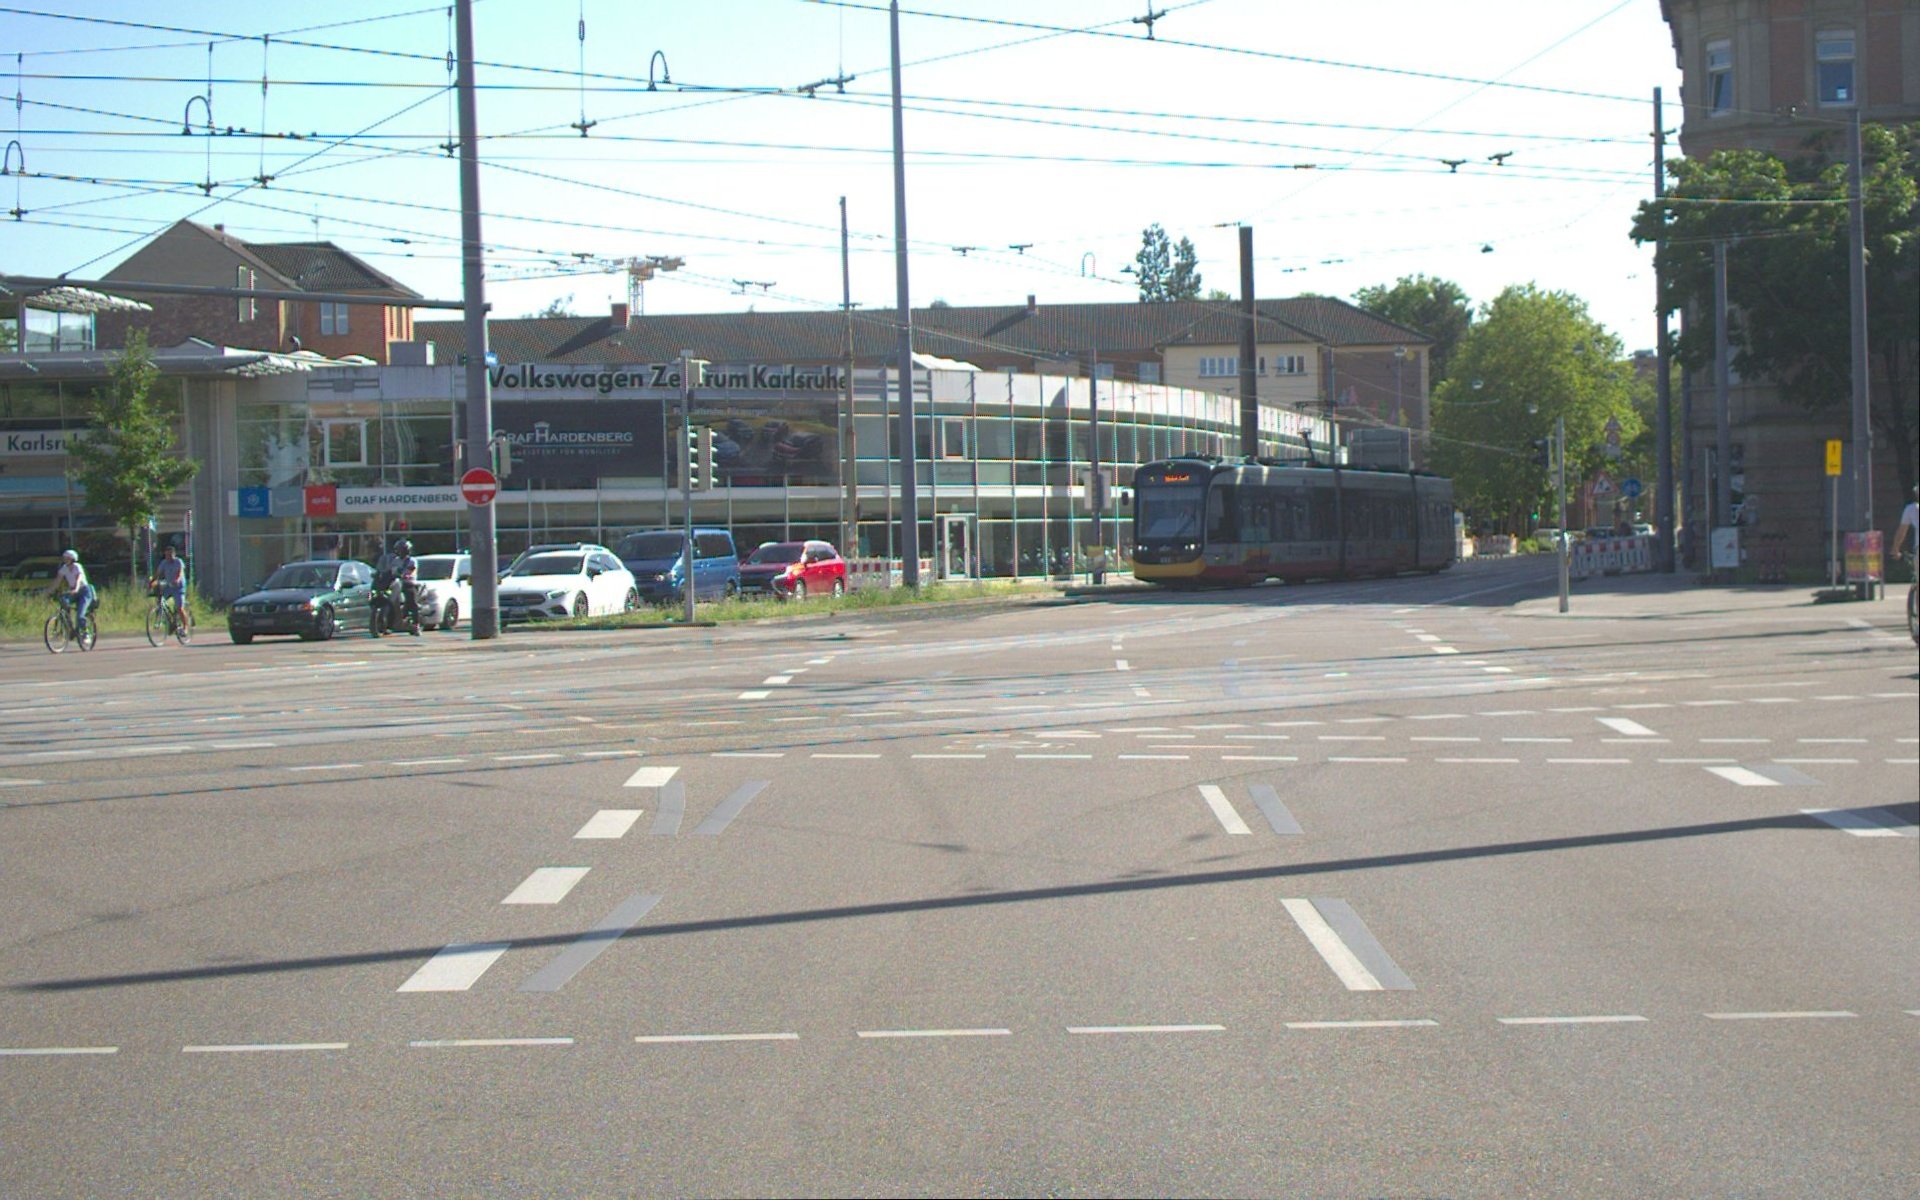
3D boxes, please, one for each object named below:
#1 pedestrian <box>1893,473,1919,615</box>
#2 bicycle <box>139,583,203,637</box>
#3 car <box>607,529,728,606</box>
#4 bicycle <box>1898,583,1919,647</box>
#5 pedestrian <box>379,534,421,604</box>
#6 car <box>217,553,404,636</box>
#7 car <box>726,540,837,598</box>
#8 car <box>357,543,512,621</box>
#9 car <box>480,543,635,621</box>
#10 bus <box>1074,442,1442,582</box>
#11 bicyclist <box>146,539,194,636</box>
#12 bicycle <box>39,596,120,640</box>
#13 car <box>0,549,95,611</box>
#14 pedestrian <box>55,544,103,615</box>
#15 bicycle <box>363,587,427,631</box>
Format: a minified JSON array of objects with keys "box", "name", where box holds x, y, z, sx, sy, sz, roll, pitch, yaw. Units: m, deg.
[{"box":[10.707,-0.629,38.245,0.549,1.557,0.857,-1,1,20],"name":"pedestrian"},{"box":[-13.981,0.172,60.933,0.468,0.923,1.474,-1,1,14],"name":"bicycle"},{"box":[-6.668,-0.766,78.710,1.627,1.686,3.683,-1,1,14],"name":"car"},{"box":[10.775,0.154,38.254,0.537,0.653,1.724,-1,1,19],"name":"bicycle"},{"box":[-9.806,-0.545,60.180,0.423,1.200,0.749,-1,1,17],"name":"pedestrian"},{"box":[-11.407,-0.116,60.624,1.705,1.349,3.698,-1,1,17],"name":"car"},{"box":[-4.422,-0.792,85.839,1.627,1.359,3.683,-1,1,16],"name":"car"},{"box":[-10.139,-0.364,66.577,1.627,1.419,3.683,-1,1,14],"name":"car"},{"box":[-7.540,-0.355,64.696,1.627,1.377,3.735,-1,1,14],"name":"car"},{"box":[9.272,-2.349,100.327,3.841,3.595,24.839,1,1,21],"name":"bus"},{"box":[-13.984,-0.227,60.847,0.569,1.708,0.648,-1,1,14],"name":"bicyclist"},{"box":[-15.060,0.303,58.852,0.423,0.715,1.473,-1,1,30],"name":"bicycle"},{"box":[-26.561,-0.597,99.623,1.966,1.700,4.083,-1,1,-1],"name":"car"},{"box":[-15.074,-0.352,58.840,0.423,1.200,0.679,-1,1,30],"name":"pedestrian"},{"box":[-9.857,0.153,60.041,0.423,0.715,1.633,-1,1,17],"name":"bicycle"}]
